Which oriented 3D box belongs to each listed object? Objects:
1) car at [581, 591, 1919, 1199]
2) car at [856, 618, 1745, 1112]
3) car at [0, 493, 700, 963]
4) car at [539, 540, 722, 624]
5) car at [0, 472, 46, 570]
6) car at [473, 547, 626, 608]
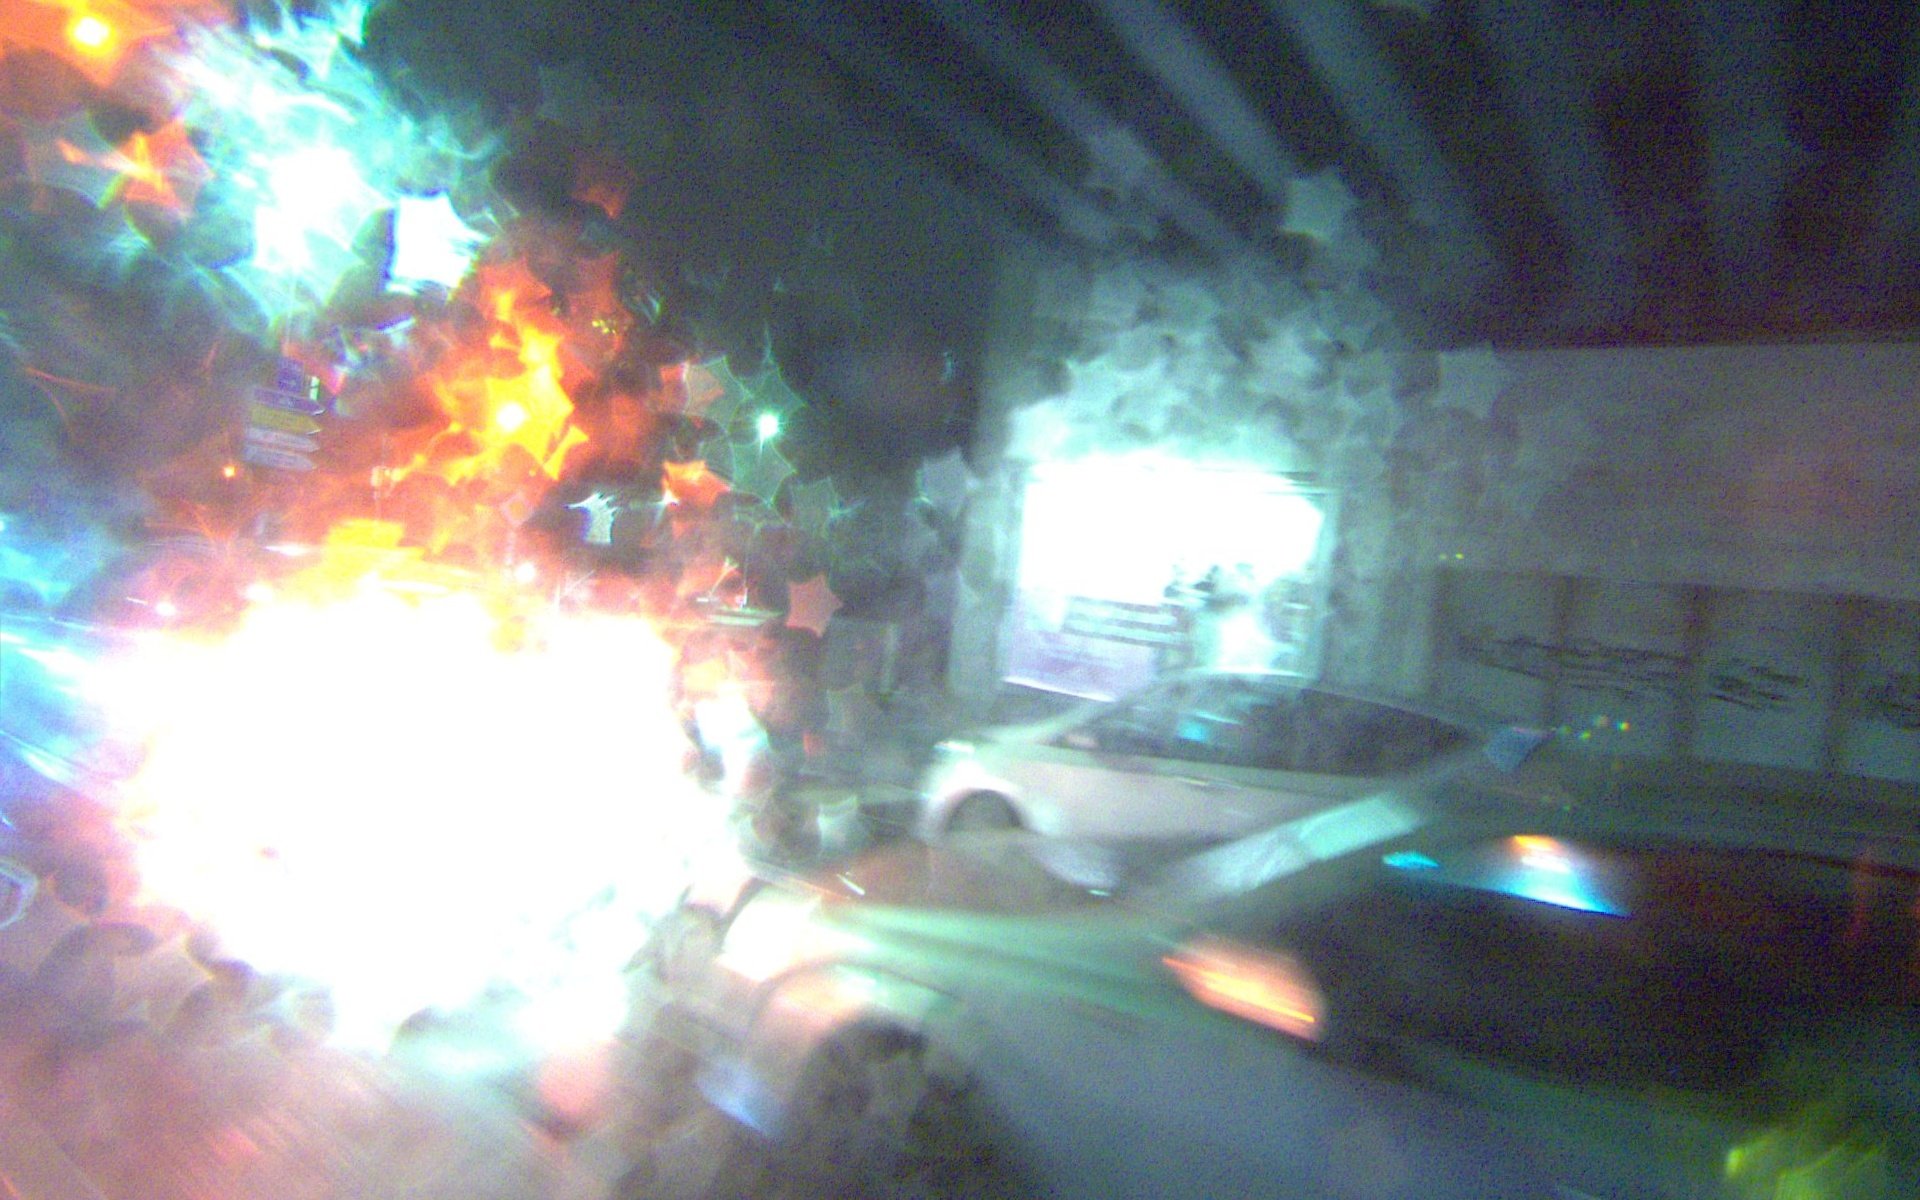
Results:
[{"bbox_3d":[1.312,0.973,2.136,4.093,1.464,1.722,7,-1,32],"label":"car"},{"bbox_3d":[1.620,1.085,5.654,4.093,1.465,1.721,7,1,32],"label":"car"},{"bbox_3d":[-3.589,0.345,5.276,4.310,1.465,1.721,7,1,32],"label":"car"},{"bbox_3d":[-9.433,-0.458,29.202,1.807,1.790,4.828,6,-2,34],"label":"car"},{"bbox_3d":[-18.737,-1.651,17.041,4.381,1.669,1.823,8,-1,-30],"label":"car"},{"bbox_3d":[-15.104,-0.792,37.247,1.827,1.609,4.848,6,-2,40],"label":"car"}]
